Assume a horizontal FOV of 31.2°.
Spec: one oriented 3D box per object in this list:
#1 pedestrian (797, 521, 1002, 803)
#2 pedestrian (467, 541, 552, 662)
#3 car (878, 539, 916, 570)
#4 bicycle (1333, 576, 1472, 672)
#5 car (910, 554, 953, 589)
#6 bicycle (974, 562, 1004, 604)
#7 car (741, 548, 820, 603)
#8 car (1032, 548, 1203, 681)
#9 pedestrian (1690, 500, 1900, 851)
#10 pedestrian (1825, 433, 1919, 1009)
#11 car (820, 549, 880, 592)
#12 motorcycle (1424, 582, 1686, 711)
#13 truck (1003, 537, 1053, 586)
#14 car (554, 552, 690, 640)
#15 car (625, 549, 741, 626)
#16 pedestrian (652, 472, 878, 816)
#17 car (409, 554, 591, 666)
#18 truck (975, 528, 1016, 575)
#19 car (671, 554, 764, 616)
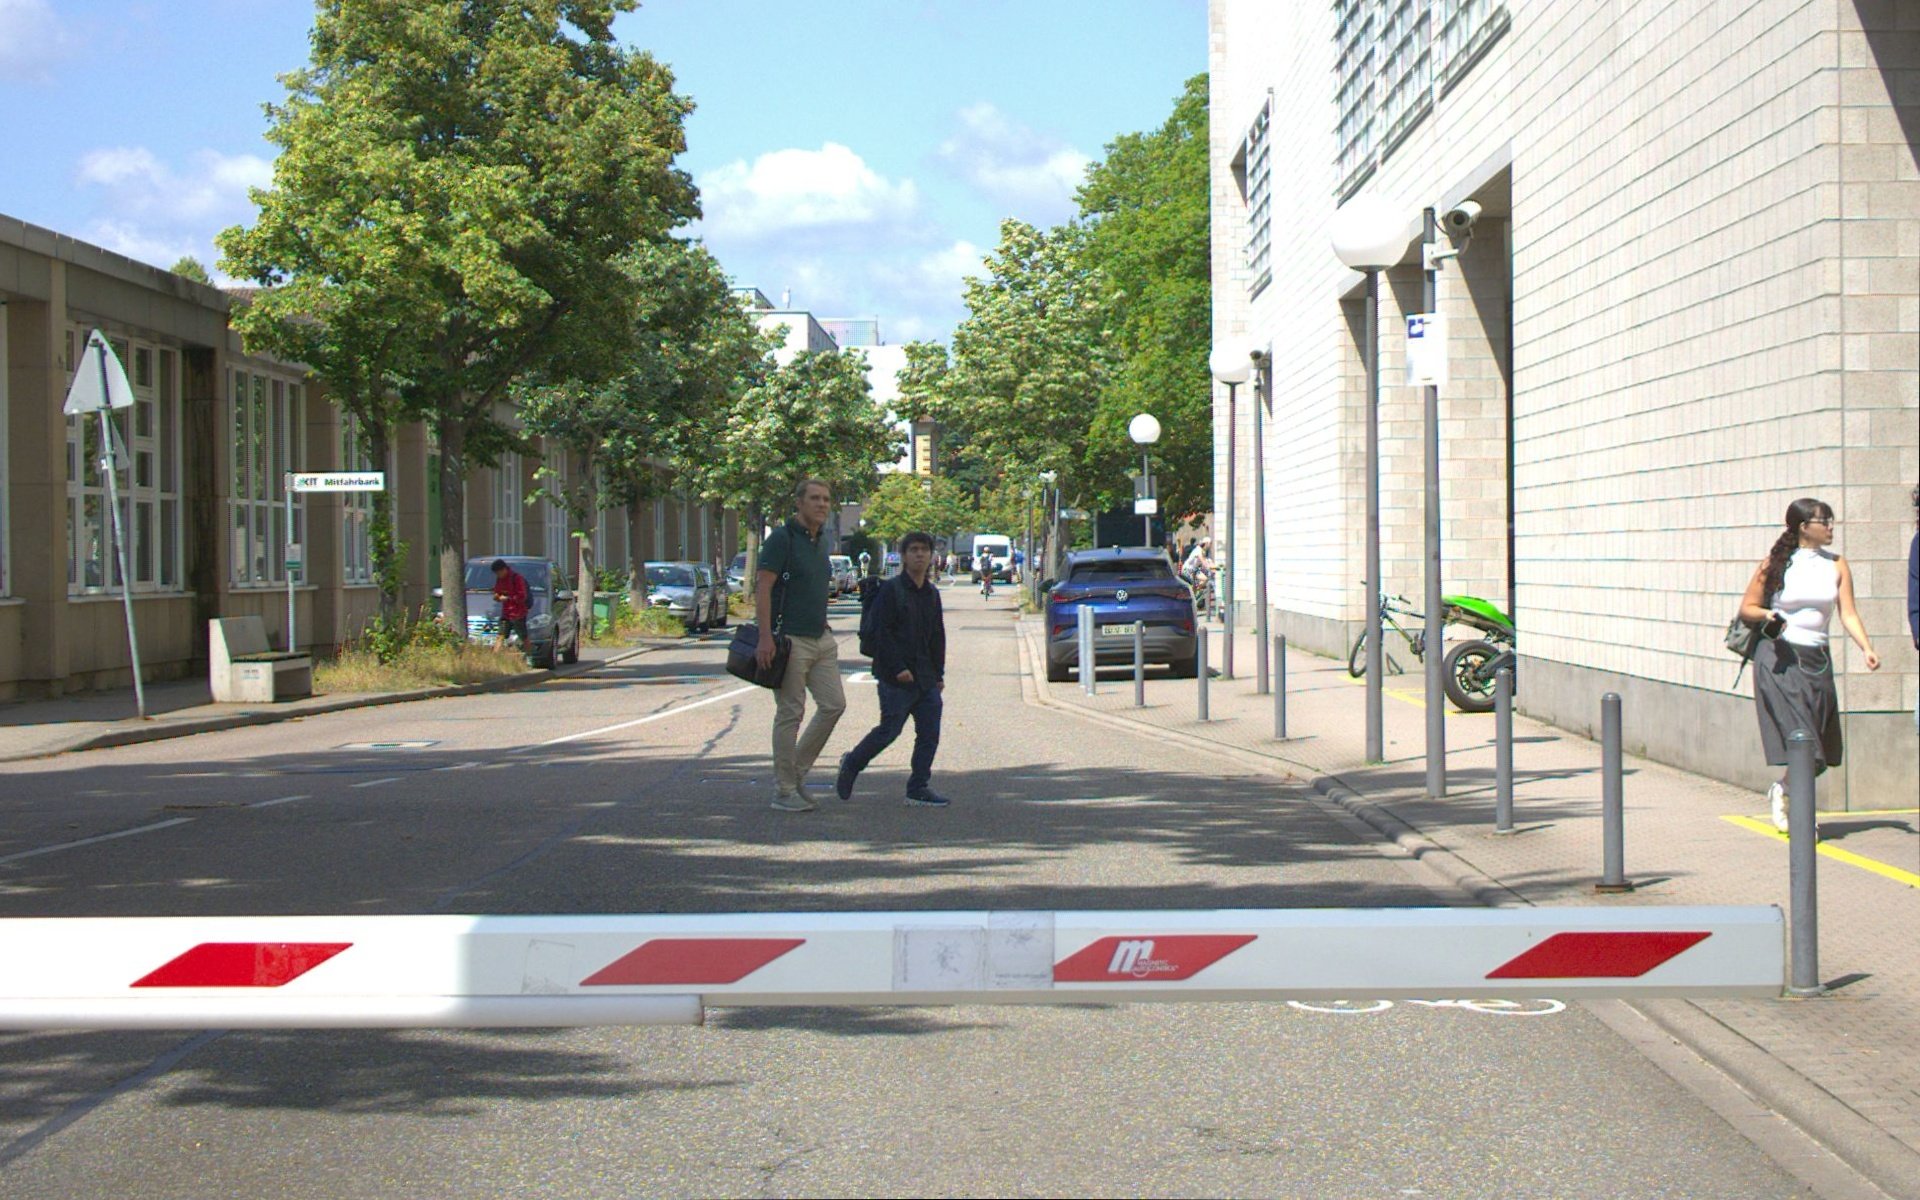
[{"bbox_3d":[-0.366,0.354,20.430,0.894,1.627,0.887,0,0,-30],"label":"pedestrian"},{"bbox_3d":[-6.149,0.022,46.907,0.884,1.627,0.897,0,0,-29],"label":"pedestrian"},{"bbox_3d":[-3.735,-2.694,204.598,1.994,1.714,3.999,-1,-1,3],"label":"car"},{"bbox_3d":[5.069,0.276,39.334,1.544,1.063,0.647,-1,1,9],"label":"bicycle"},{"bbox_3d":[-1.516,-1.499,181.456,1.994,1.714,3.999,-1,-1,3],"label":"car"},{"bbox_3d":[0.965,-0.556,114.754,0.987,1.311,2.964,-1,-1,0],"label":"bicycle"},{"bbox_3d":[-5.193,-0.735,99.963,1.993,1.540,4.212,0,1,1],"label":"car"},{"bbox_3d":[1.884,0.134,42.360,1.993,1.540,4.212,0,1,1],"label":"car"},{"bbox_3d":[4.026,0.346,16.634,0.741,1.627,0.888,-2,1,-1],"label":"pedestrian"},{"bbox_3d":[3.275,0.357,10.970,0.694,1.774,1.086,-2,1,-1],"label":"pedestrian"},{"bbox_3d":[-4.034,-1.100,126.548,1.993,1.540,4.212,0,1,1],"label":"car"},{"bbox_3d":[5.124,0.401,29.680,2.123,1.019,0.660,-2,-1,2],"label":"motorcycle"},{"bbox_3d":[2.910,-1.635,147.370,1.993,2.007,4.000,-1,-1,-1],"label":"truck"},{"bbox_3d":[-6.153,-0.101,63.050,1.993,1.540,4.212,0,1,1],"label":"car"},{"bbox_3d":[-5.753,-0.286,71.833,1.993,1.540,4.212,0,1,1],"label":"car"},{"bbox_3d":[-1.130,0.246,19.824,1.003,1.919,0.887,0,0,-30],"label":"pedestrian"},{"bbox_3d":[-6.623,0.111,49.898,1.993,1.540,4.212,0,1,1],"label":"car"},{"bbox_3d":[1.828,-2.508,177.707,1.993,2.263,4.616,-1,-1,-1],"label":"truck"},{"bbox_3d":[-6.148,-0.401,87.588,1.993,1.540,4.212,0,1,1],"label":"car"}]
